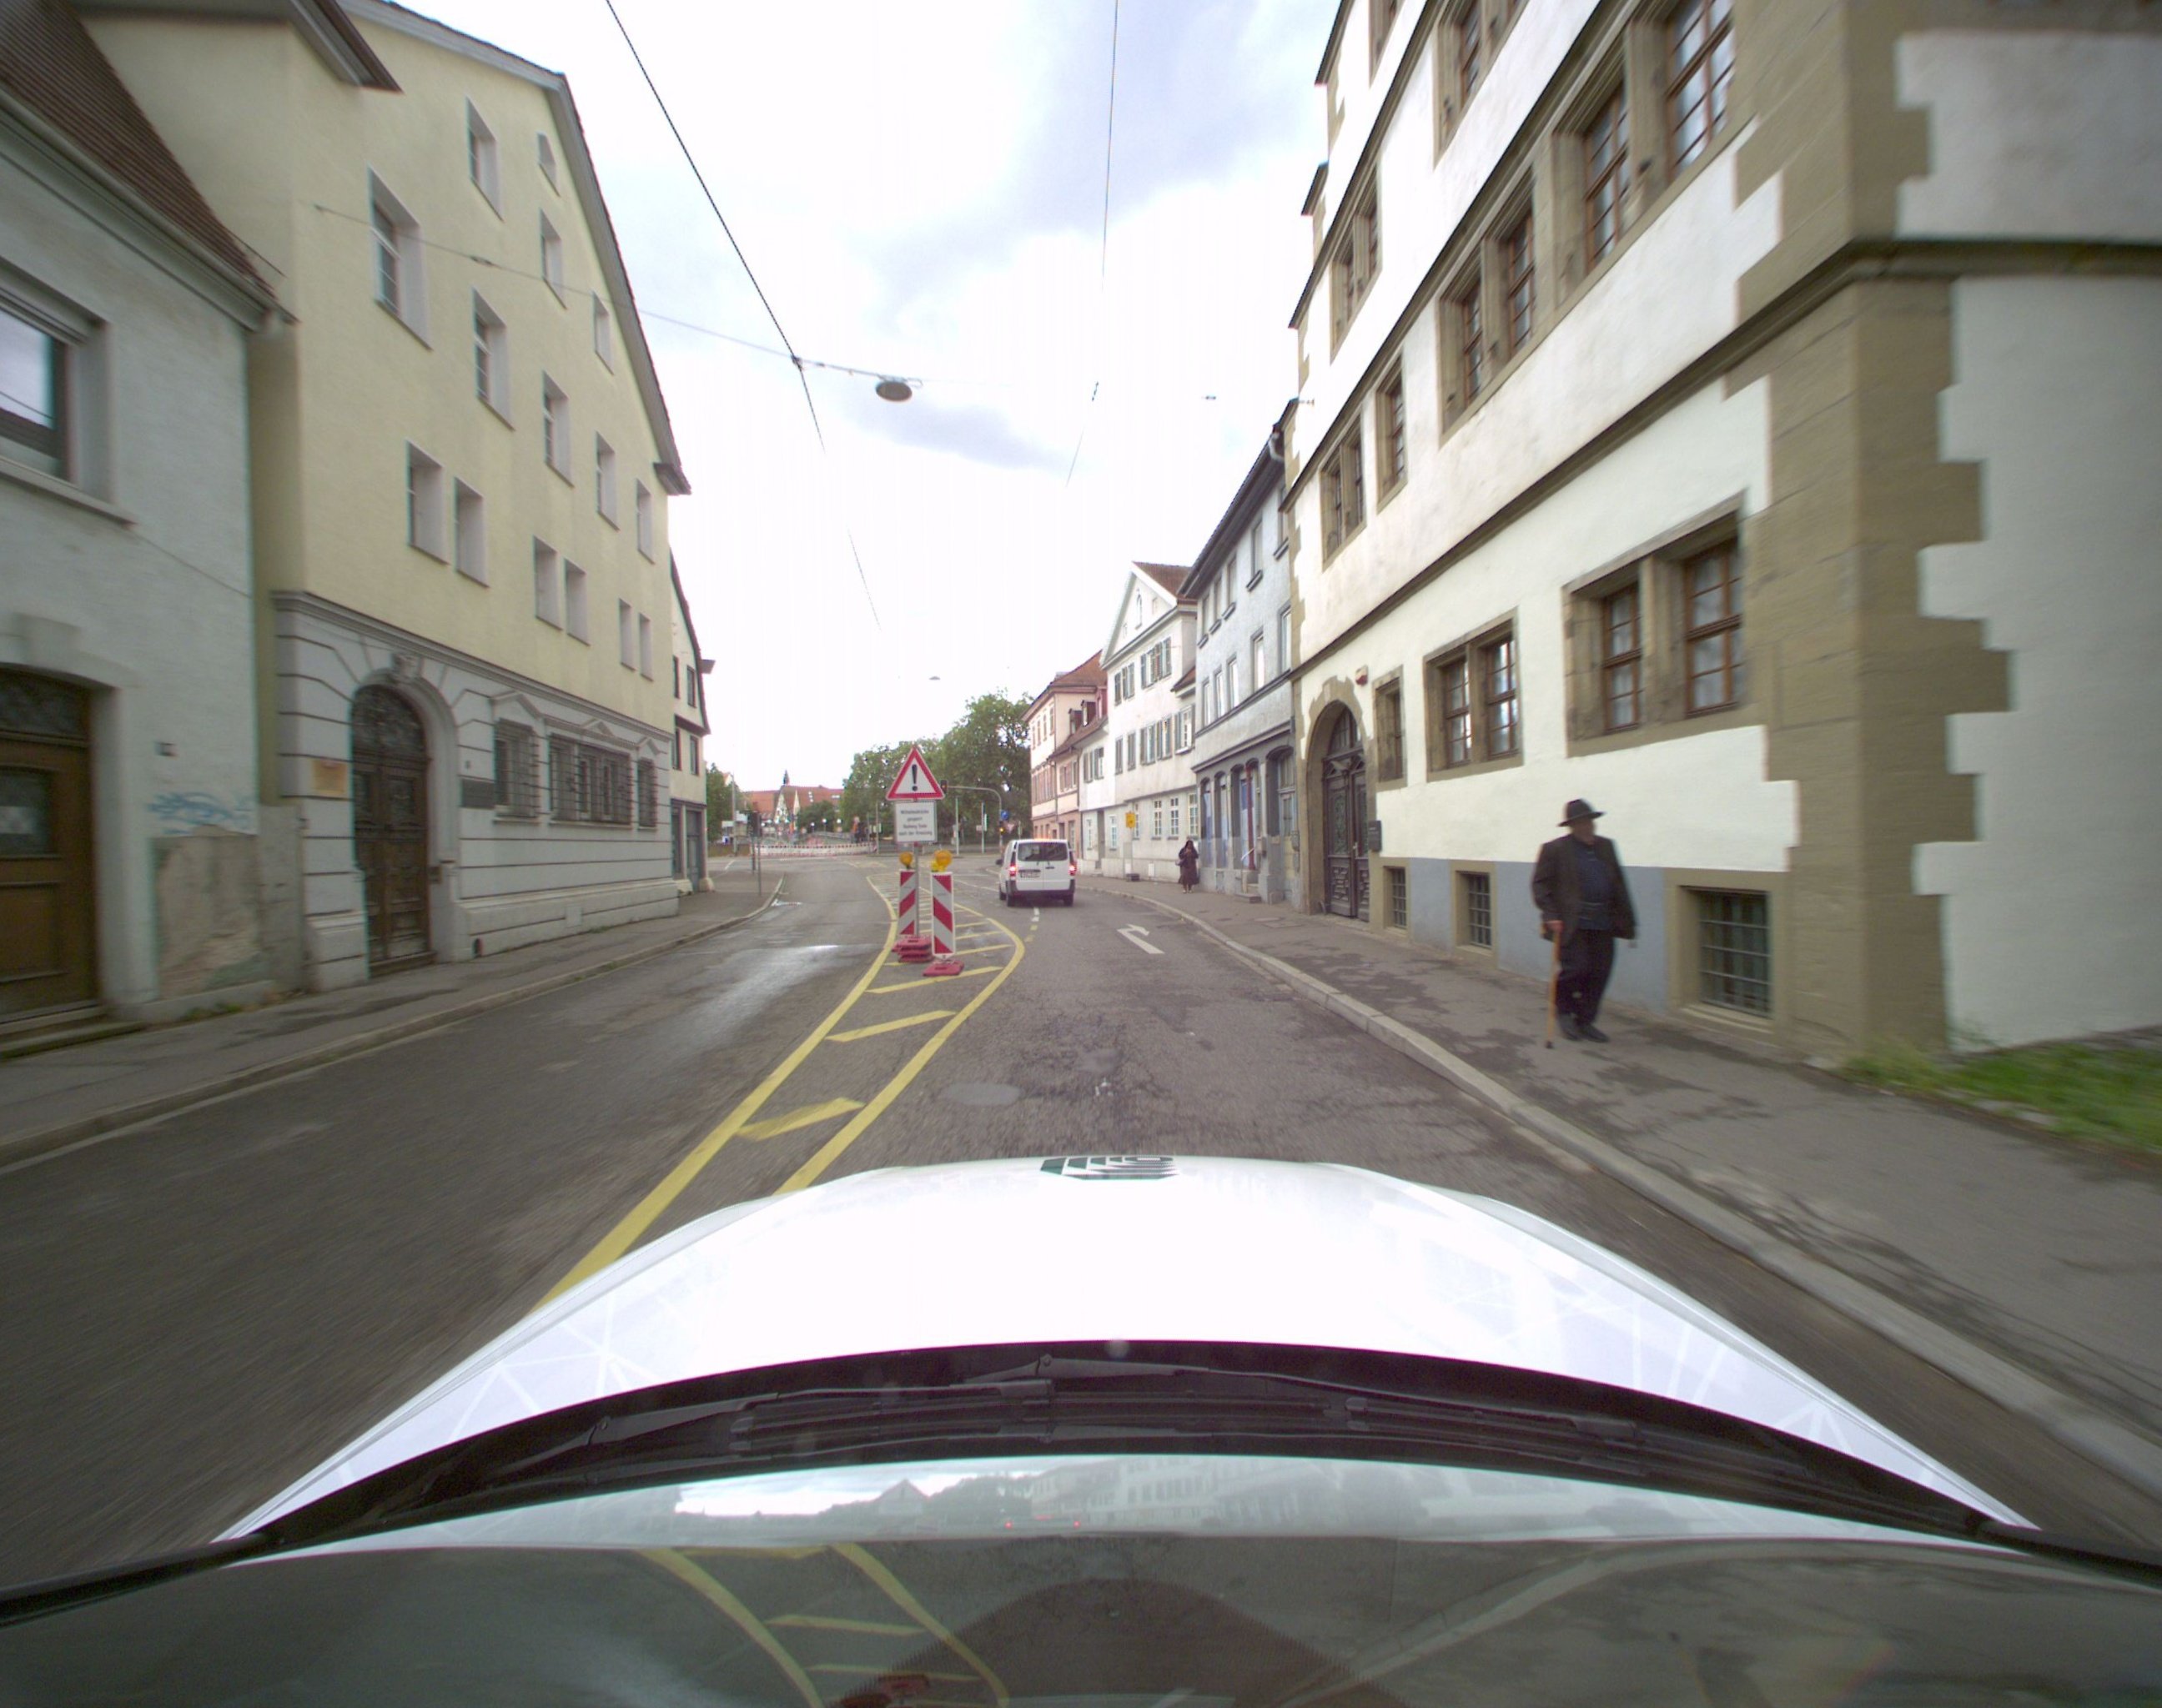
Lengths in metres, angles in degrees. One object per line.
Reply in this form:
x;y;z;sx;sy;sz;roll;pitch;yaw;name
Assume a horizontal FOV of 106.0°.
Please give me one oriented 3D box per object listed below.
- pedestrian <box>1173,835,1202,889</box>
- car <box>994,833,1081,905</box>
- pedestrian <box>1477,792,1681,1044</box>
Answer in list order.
3.336;0.236;25.552;0.753;1.667;0.809;1;0;-1;pedestrian
-1.387;0.414;24.067;1.994;1.923;4.233;1;0;-11;car
3.581;0.429;5.949;0.829;1.656;0.944;-3;0;0;pedestrian
